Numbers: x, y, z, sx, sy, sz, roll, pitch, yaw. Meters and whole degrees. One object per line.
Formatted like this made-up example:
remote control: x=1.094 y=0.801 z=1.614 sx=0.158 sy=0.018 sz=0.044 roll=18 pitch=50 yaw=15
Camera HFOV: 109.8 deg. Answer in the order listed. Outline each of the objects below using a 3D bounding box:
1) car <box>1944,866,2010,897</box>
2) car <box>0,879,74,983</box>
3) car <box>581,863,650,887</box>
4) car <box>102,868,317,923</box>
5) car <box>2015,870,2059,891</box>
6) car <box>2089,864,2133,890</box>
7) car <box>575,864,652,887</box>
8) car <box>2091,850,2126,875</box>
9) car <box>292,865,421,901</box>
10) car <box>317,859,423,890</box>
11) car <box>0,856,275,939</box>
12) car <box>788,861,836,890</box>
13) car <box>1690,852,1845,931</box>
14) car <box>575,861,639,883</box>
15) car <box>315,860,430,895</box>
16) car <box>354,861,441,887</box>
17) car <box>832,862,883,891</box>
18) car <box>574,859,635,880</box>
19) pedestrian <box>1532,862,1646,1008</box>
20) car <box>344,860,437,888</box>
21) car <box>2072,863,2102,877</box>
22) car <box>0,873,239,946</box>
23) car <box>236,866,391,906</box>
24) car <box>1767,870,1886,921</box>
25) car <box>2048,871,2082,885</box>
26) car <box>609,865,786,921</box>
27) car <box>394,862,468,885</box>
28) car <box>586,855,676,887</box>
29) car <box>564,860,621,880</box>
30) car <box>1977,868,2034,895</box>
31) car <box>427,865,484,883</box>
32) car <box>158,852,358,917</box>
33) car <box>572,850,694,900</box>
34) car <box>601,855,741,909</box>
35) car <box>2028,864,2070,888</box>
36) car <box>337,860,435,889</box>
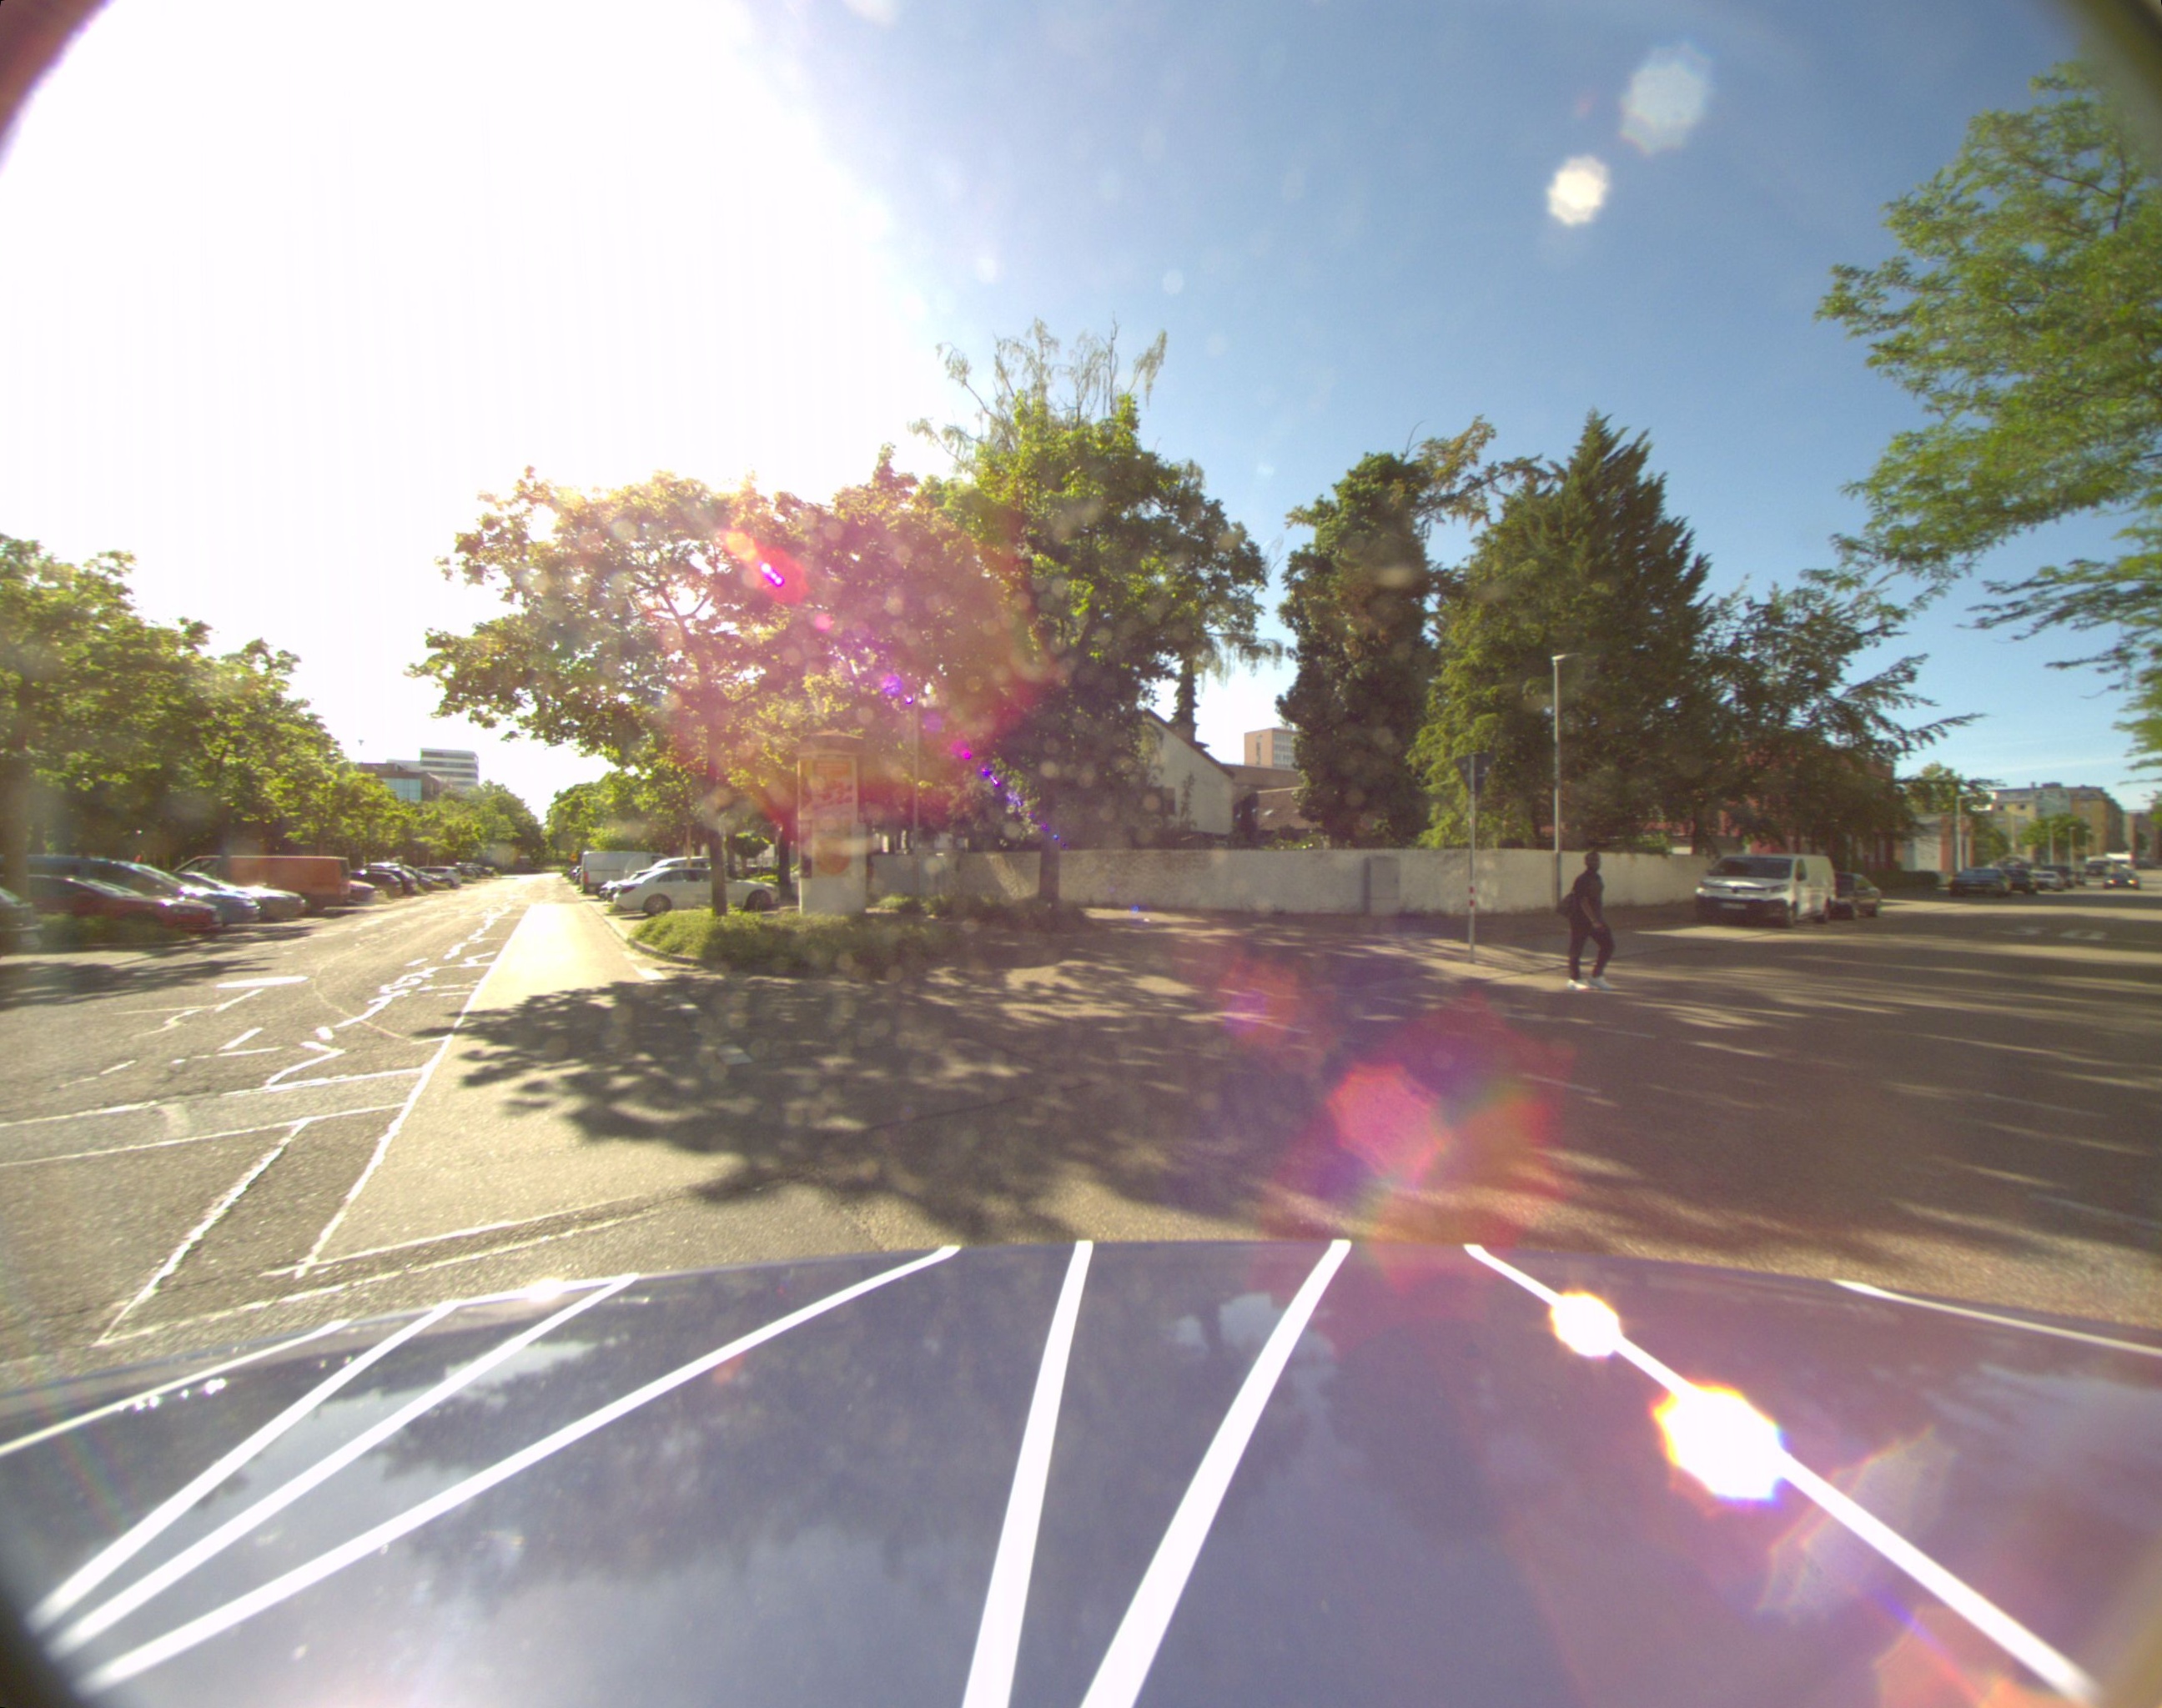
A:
car: x=50.484 y=1.516 z=42.811 sx=4.380 sy=1.620 sz=1.899 roll=0 pitch=1 yaw=-34
car: x=-17.398 y=1.058 z=10.278 sx=4.177 sy=1.397 sz=1.824 roll=2 pitch=-1 yaw=-36
car: x=-37.065 y=1.656 z=60.579 sx=4.575 sy=1.819 sz=1.995 roll=1 pitch=-1 yaw=-36
car: x=-25.145 y=1.175 z=22.147 sx=3.795 sy=1.465 sz=1.764 roll=2 pitch=-1 yaw=-36
car: x=72.166 y=1.978 z=57.340 sx=3.897 sy=1.448 sz=1.696 roll=0 pitch=1 yaw=-34
car: x=82.827 y=1.827 z=61.086 sx=4.380 sy=1.974 sz=1.899 roll=0 pitch=1 yaw=-34
car: x=-33.764 y=1.526 z=54.927 sx=4.575 sy=1.590 sz=1.995 roll=1 pitch=-1 yaw=-36
car: x=168.566 y=1.410 z=124.633 sx=6.337 sy=3.920 sz=2.908 roll=0 pitch=1 yaw=-33
car: x=-34.829 y=1.382 z=36.728 sx=4.269 sy=1.604 sz=1.969 roll=2 pitch=-1 yaw=-36
car: x=-41.172 y=1.198 z=44.143 sx=4.269 sy=1.705 sz=1.969 roll=2 pitch=-1 yaw=-36
car: x=-22.707 y=0.981 z=17.987 sx=4.674 sy=1.762 sz=1.824 roll=2 pitch=-1 yaw=-36
car: x=-15.998 y=1.271 z=45.082 sx=1.839 sy=1.604 sz=4.134 roll=2 pitch=-1 yaw=-31
car: x=18.776 y=0.934 z=20.714 sx=5.157 sy=1.903 sz=1.899 roll=0 pitch=1 yaw=-34
car: x=-40.573 y=1.506 z=65.052 sx=4.575 sy=1.819 sz=1.995 roll=1 pitch=-1 yaw=-36
car: x=-37.896 y=1.267 z=40.824 sx=4.269 sy=1.743 sz=1.969 roll=2 pitch=-1 yaw=-36
car: x=-47.697 y=1.388 z=53.147 sx=4.269 sy=1.705 sz=1.969 roll=2 pitch=-1 yaw=-36
car: x=-13.694 y=1.362 z=46.395 sx=1.978 sy=1.604 sz=4.250 roll=2 pitch=-1 yaw=-31
car: x=-43.049 y=1.424 z=68.691 sx=4.575 sy=1.819 sz=1.995 roll=1 pitch=-1 yaw=-36
pedestrian: x=6.189 y=0.946 z=9.276 sx=0.839 sy=1.674 sz=0.806 roll=1 pitch=0 yaw=-22
car: x=-44.995 y=1.327 z=49.647 sx=4.269 sy=1.705 sz=1.969 roll=2 pitch=-1 yaw=-36
car: x=119.468 y=1.892 z=90.248 sx=4.380 sy=1.585 sz=1.899 roll=0 pitch=1 yaw=-34
car: x=-21.216 y=1.140 z=16.129 sx=4.177 sy=1.397 sz=1.824 roll=2 pitch=-1 yaw=-36
car: x=-31.963 y=1.332 z=31.858 sx=4.269 sy=1.562 sz=1.969 roll=2 pitch=-1 yaw=-36
car: x=23.528 y=1.231 z=23.938 sx=4.291 sy=1.415 sz=1.827 roll=1 pitch=0 yaw=-34
car: x=97.914 y=2.359 z=75.624 sx=4.103 sy=1.281 sz=1.773 roll=1 pitch=0 yaw=-34
car: x=-11.897 y=1.146 z=23.692 sx=4.695 sy=1.398 sz=1.824 roll=-2 pitch=1 yaw=-33
car: x=-51.127 y=1.555 z=59.915 sx=4.269 sy=1.705 sz=1.969 roll=2 pitch=-1 yaw=-36
car: x=-27.568 y=1.036 z=46.604 sx=4.575 sy=1.819 sz=1.995 roll=1 pitch=-1 yaw=-36
car: x=-47.454 y=1.560 z=73.783 sx=4.575 sy=1.819 sz=1.995 roll=1 pitch=-1 yaw=-36
car: x=59.788 y=1.732 z=49.134 sx=4.415 sy=1.620 sz=1.875 roll=0 pitch=1 yaw=-34
car: x=-62.453 y=2.029 z=75.948 sx=4.269 sy=1.705 sz=1.969 roll=2 pitch=-1 yaw=-36
car: x=-27.696 y=1.015 z=25.804 sx=4.269 sy=2.020 sz=1.969 roll=2 pitch=-1 yaw=-36
car: x=-22.582 y=1.039 z=38.367 sx=5.145 sy=2.364 sz=1.995 roll=1 pitch=-1 yaw=-36
car: x=-16.152 y=1.066 z=30.040 sx=4.645 sy=1.979 sz=1.995 roll=1 pitch=-1 yaw=-36
car: x=85.009 y=1.905 z=66.707 sx=4.380 sy=1.974 sz=1.899 roll=0 pitch=1 yaw=-34
car: x=-43.319 y=1.276 z=47.493 sx=4.269 sy=1.705 sz=1.969 roll=2 pitch=-1 yaw=-36
